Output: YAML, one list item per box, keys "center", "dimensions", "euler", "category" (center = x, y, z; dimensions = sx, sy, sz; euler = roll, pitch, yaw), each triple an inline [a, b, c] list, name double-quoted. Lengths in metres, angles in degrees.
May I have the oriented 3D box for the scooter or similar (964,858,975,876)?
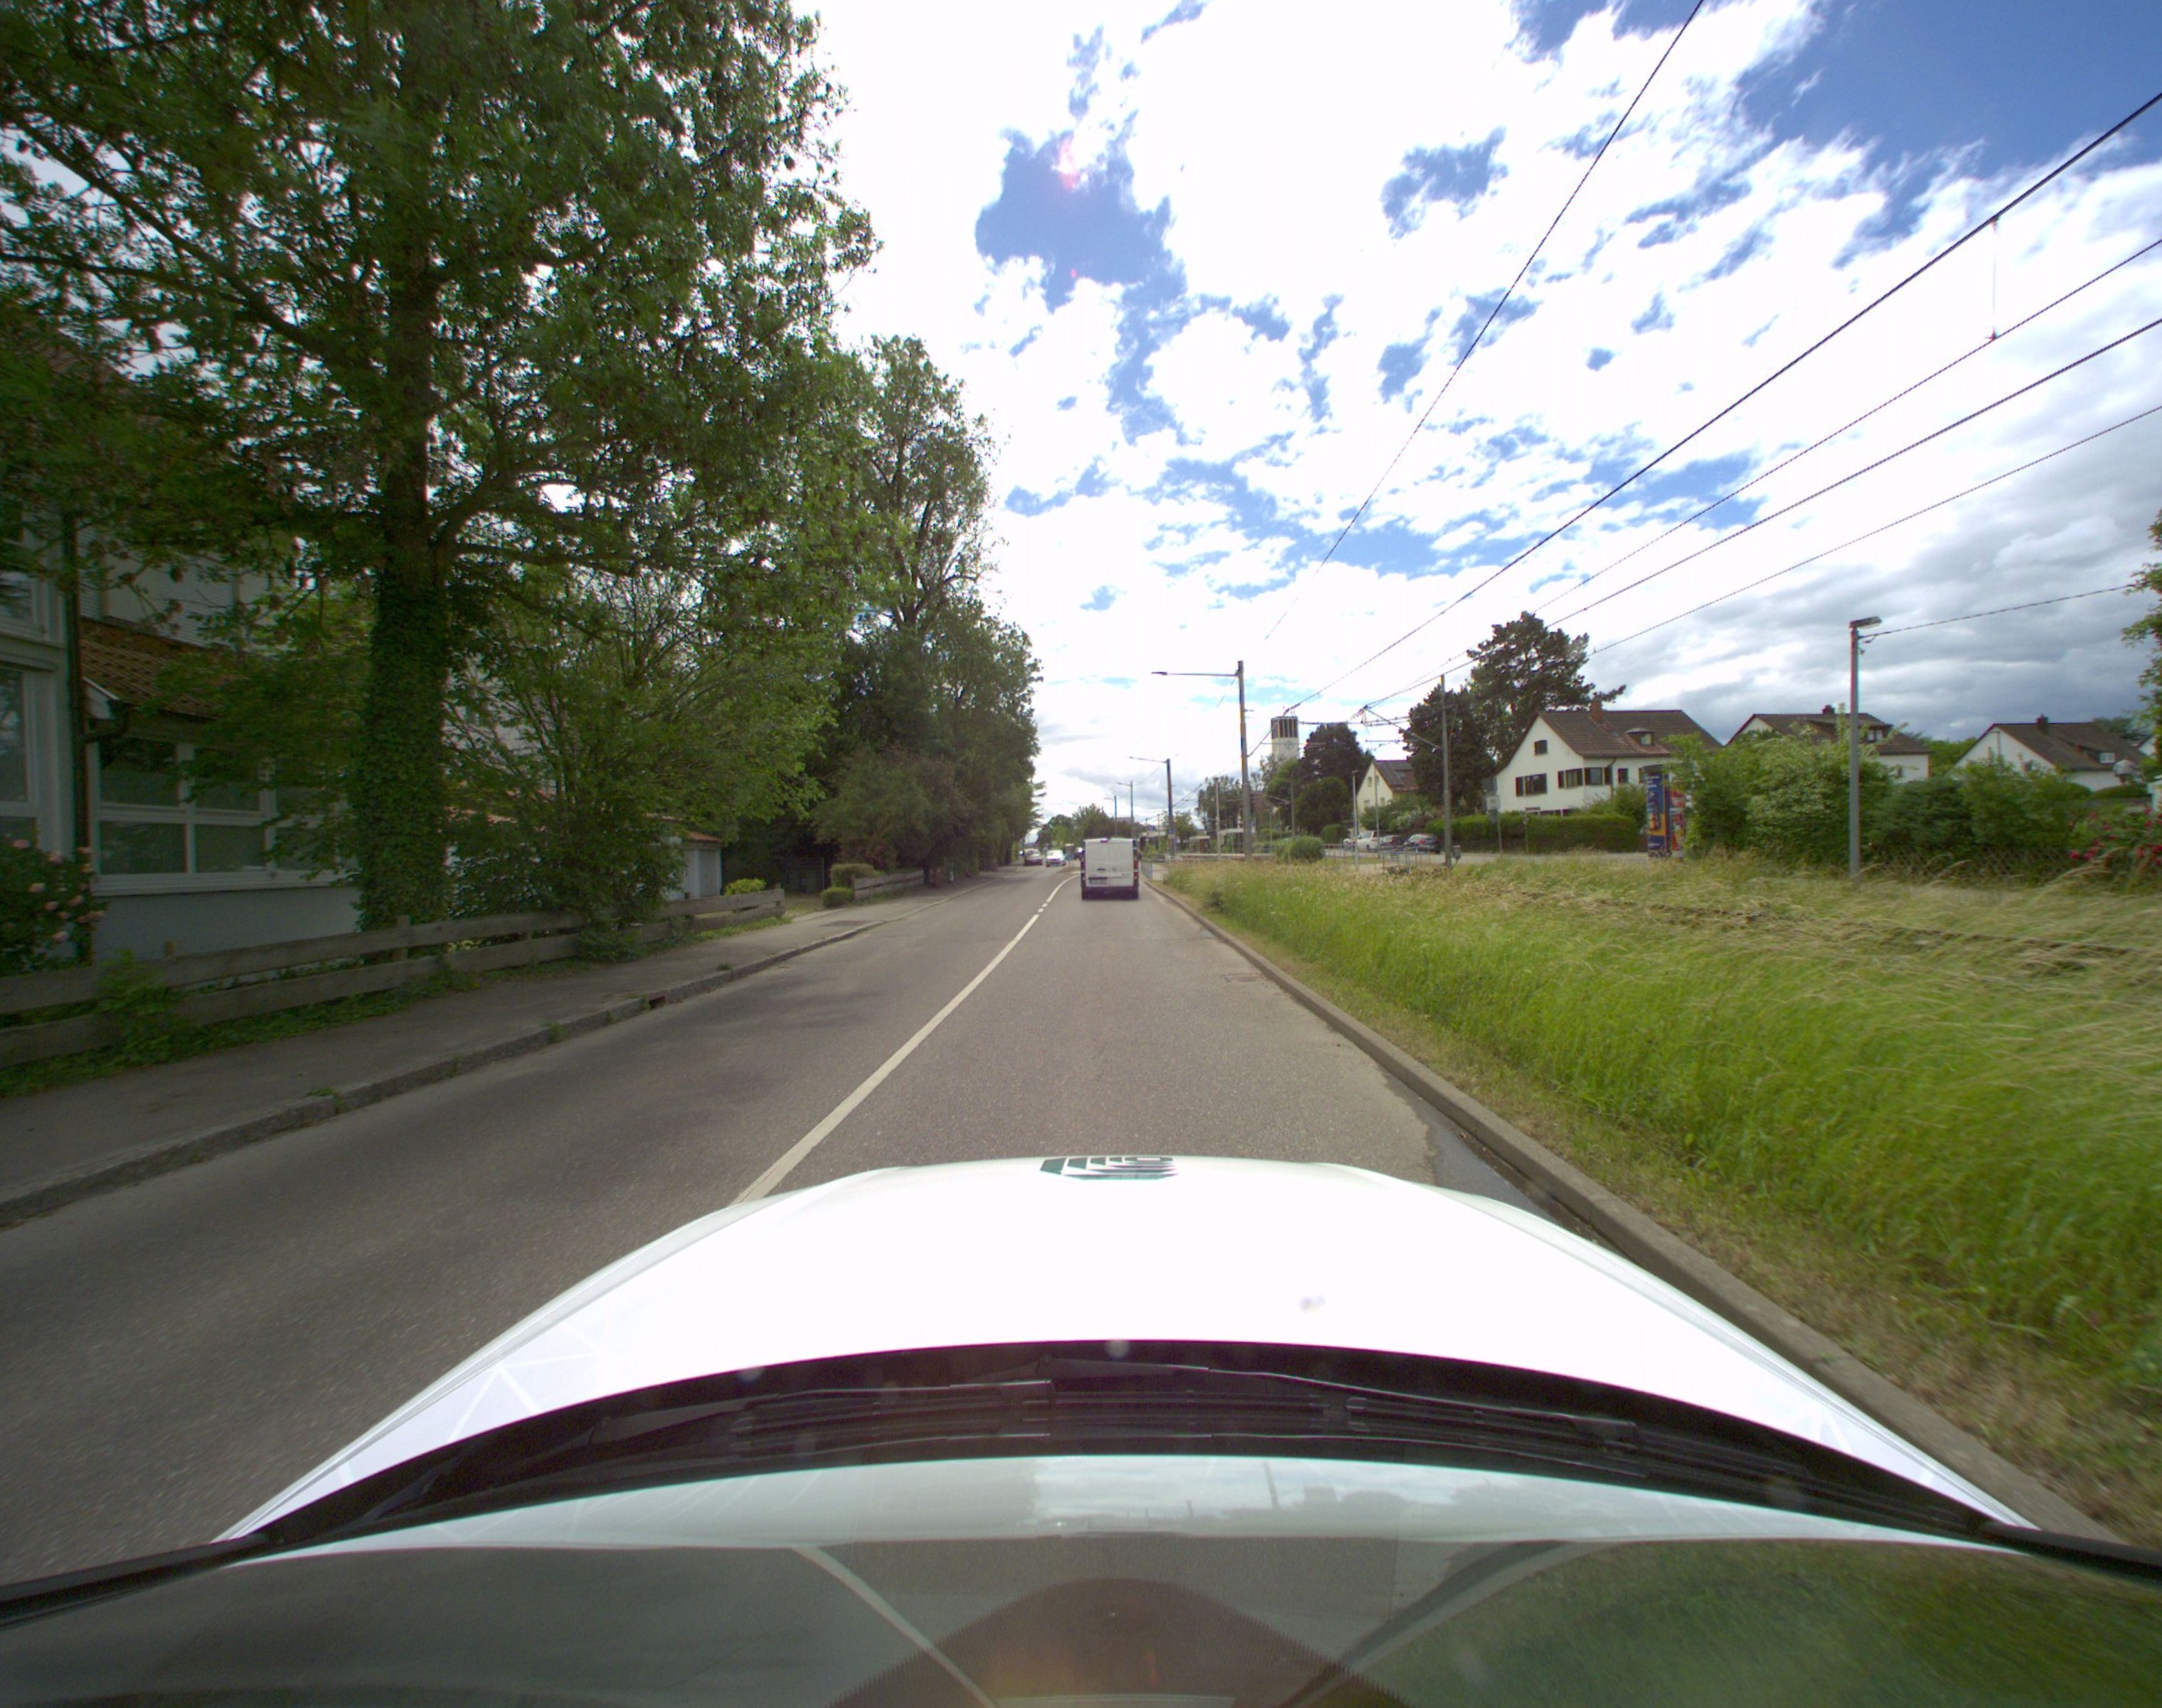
- center: [-6.929, 0.816, 50.529]
  dimensions: [0.478, 1.081, 1.207]
  euler: [-1, 0, -17]
  category: "scooter or similar"

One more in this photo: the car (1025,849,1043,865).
- center: [-4.816, 0.251, 83.568]
  dimensions: [1.733, 1.504, 4.471]
  euler: [-4, 1, -4]
  category: "car"

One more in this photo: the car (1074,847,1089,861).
- center: [0.049, 0.006, 106.757]
  dimensions: [1.847, 1.648, 3.733]
  euler: [-2, 0, -1]
  category: "car"

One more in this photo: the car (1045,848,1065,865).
- center: [-2.365, 0.234, 74.581]
  dimensions: [1.689, 1.430, 3.784]
  euler: [-4, 0, -2]
  category: "car"

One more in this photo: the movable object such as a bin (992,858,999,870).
- center: [-6.743, 0.761, 64.274]
  dimensions: [0.463, 0.930, 0.428]
  euler: [2, -1, -15]
  category: "movable object such as a bin"

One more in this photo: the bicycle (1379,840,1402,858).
- center: [19.369, -0.317, 50.985]
  dimensions: [0.536, 1.045, 2.542]
  euler: [-2, 0, 3]
  category: "bicycle"

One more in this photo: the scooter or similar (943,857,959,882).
- center: [-6.735, 0.797, 42.281]
  dimensions: [0.407, 1.199, 1.641]
  euler: [-2, 0, 3]
  category: "scooter or similar"

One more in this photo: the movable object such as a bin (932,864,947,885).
- center: [-6.387, 0.928, 36.786]
  dimensions: [0.511, 0.945, 0.569]
  euler: [-1, 0, 1]
  category: "movable object such as a bin"

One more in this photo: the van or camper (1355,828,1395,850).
- center: [25.655, -1.302, 71.286]
  dimensions: [1.897, 1.825, 5.052]
  euler: [-2, 0, 3]
  category: "van or camper"

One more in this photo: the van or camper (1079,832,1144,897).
- center: [1.044, 0.323, 27.536]
  dimensions: [1.985, 2.013, 4.448]
  euler: [-1, 0, 2]
  category: "van or camper"

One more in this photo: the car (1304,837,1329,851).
- center: [26.847, -1.121, 92.927]
  dimensions: [1.875, 1.522, 4.003]
  euler: [-2, 0, 3]
  category: "car"

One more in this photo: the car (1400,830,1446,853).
- center: [25.282, -0.912, 60.324]
  dimensions: [1.875, 1.522, 4.003]
  euler: [-2, 0, 3]
  category: "car"

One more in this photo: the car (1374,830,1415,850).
- center: [25.469, -1.110, 66.286]
  dimensions: [1.875, 1.522, 4.003]
  euler: [-2, 0, 3]
  category: "car"
